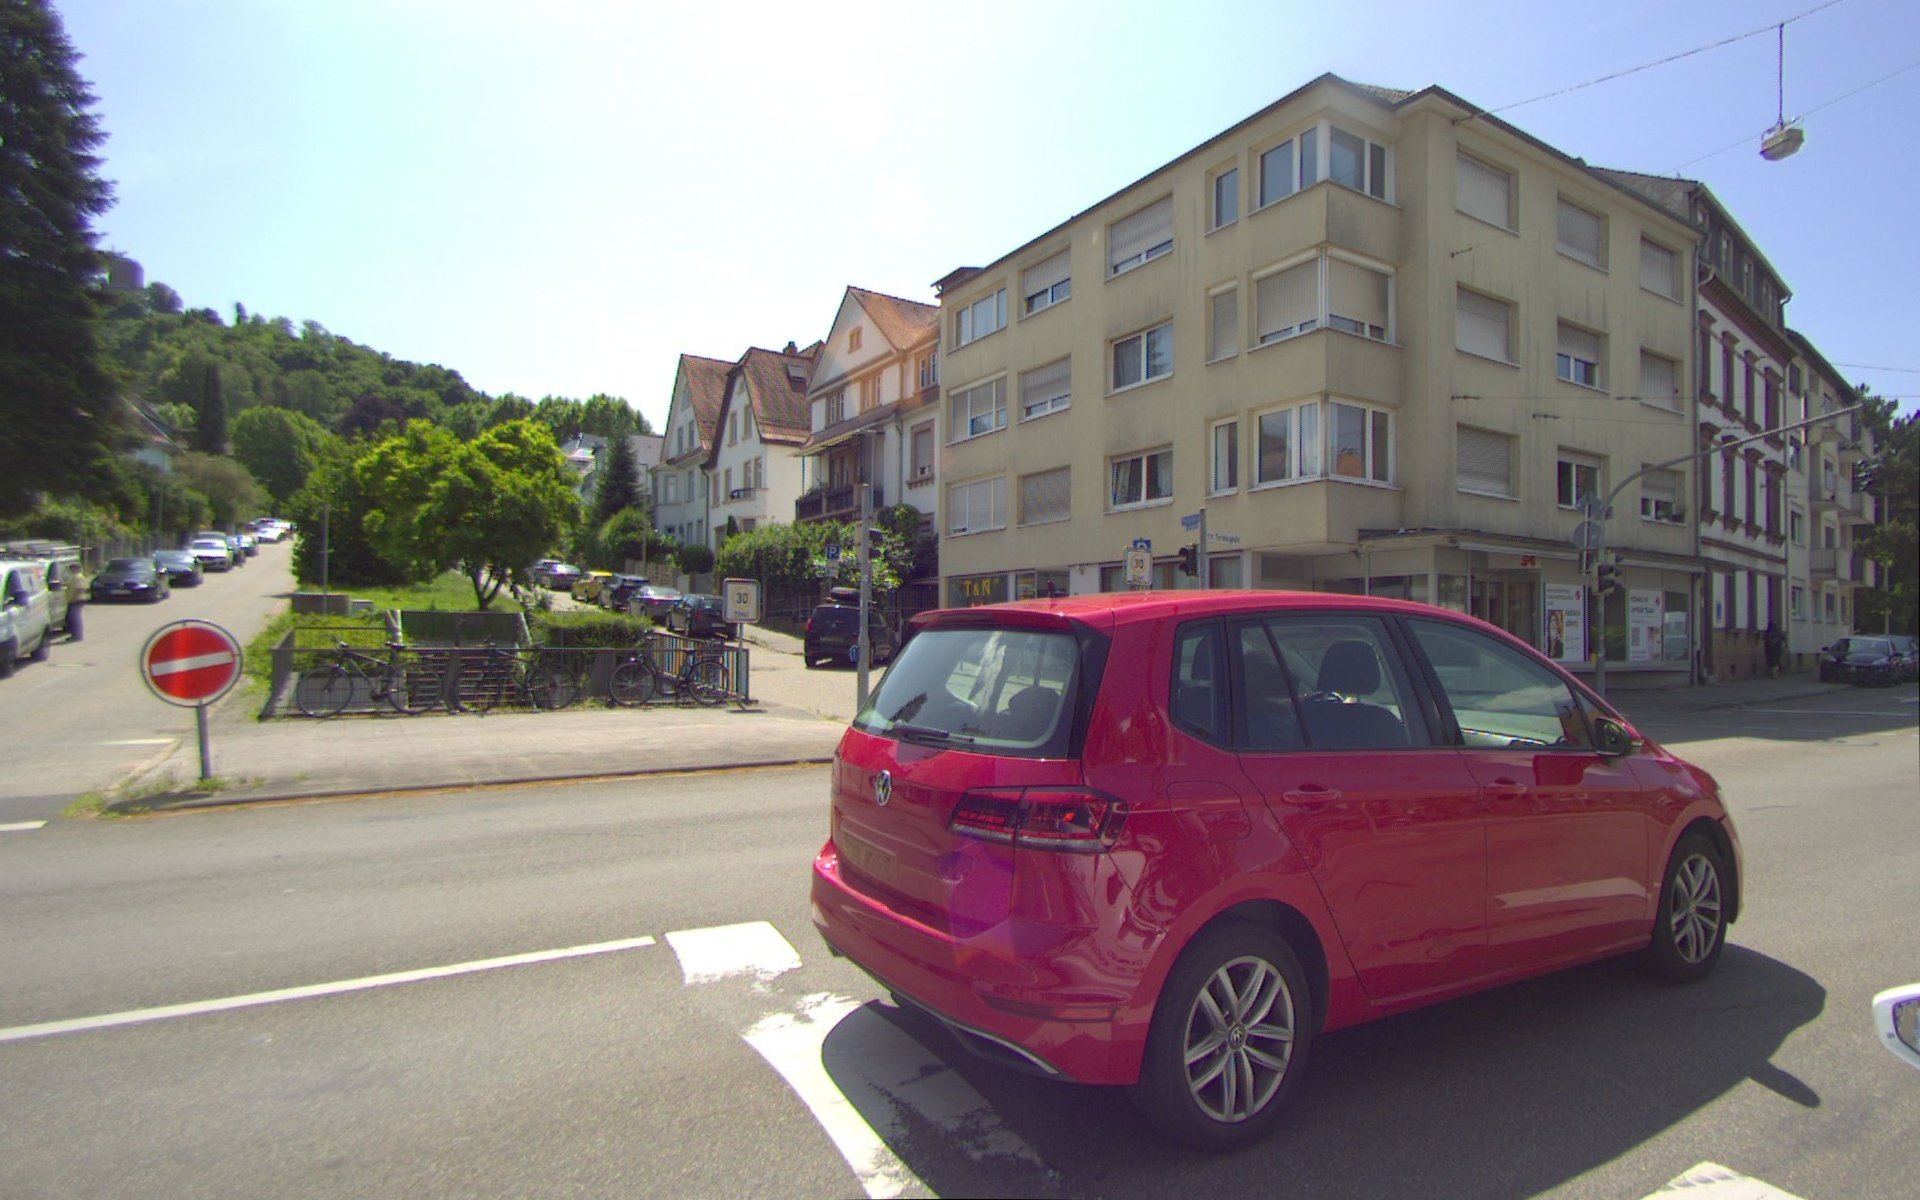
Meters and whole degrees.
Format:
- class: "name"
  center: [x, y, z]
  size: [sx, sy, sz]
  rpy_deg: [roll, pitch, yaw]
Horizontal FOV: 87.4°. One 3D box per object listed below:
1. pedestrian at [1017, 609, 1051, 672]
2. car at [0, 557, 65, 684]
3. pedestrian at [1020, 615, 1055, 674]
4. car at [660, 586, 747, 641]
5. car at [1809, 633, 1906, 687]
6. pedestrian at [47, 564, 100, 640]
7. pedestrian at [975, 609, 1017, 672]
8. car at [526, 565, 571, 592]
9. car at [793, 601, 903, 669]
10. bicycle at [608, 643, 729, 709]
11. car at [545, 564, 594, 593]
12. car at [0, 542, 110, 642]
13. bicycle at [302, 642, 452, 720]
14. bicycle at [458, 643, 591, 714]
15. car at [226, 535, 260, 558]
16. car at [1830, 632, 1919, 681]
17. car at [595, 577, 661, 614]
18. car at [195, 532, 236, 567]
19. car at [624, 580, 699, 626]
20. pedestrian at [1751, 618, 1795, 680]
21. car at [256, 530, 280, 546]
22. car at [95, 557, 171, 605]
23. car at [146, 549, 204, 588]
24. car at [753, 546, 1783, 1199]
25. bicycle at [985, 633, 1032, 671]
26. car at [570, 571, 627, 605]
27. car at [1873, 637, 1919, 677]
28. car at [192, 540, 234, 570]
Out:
- class: "pedestrian"
  center: [1.981, 1.088, 27.037]
  size: [0.640, 1.654, 0.683]
  rpy_deg: [1, -1, -29]
- class: "car"
  center: [-18.112, 0.264, 18.348]
  size: [1.980, 2.041, 4.963]
  rpy_deg: [1, 2, -34]
- class: "pedestrian"
  center: [2.017, 1.152, 26.165]
  size: [0.640, 1.495, 0.683]
  rpy_deg: [1, -1, -29]
- class: "car"
  center: [-9.052, 0.449, 35.297]
  size: [1.790, 1.638, 3.963]
  rpy_deg: [2, 2, -32]
- class: "car"
  center: [28.472, 1.886, 31.817]
  size: [3.973, 1.539, 1.974]
  rpy_deg: [3, -2, -43]
- class: "pedestrian"
  center: [-20.724, 0.052, 23.503]
  size: [0.733, 1.737, 0.707]
  rpy_deg: [1, -1, -27]
- class: "pedestrian"
  center: [0.958, 1.076, 26.886]
  size: [0.813, 1.654, 0.798]
  rpy_deg: [1, -1, -29]
- class: "car"
  center: [-25.294, -1.326, 61.664]
  size: [1.839, 1.439, 3.963]
  rpy_deg: [2, 2, -33]
- class: "car"
  center: [-2.951, 0.949, 27.514]
  size: [1.959, 1.686, 4.333]
  rpy_deg: [0, -2, 8]
- class: "bicycle"
  center: [-4.541, 1.161, 15.714]
  size: [1.765, 0.980, 0.394]
  rpy_deg: [2, -1, -35]
- class: "car"
  center: [-22.073, -1.249, 56.704]
  size: [1.839, 1.439, 3.963]
  rpy_deg: [2, 2, -33]
- class: "car"
  center: [-22.766, -0.266, 24.550]
  size: [2.050, 2.206, 4.973]
  rpy_deg: [1, 2, -29]
- class: "bicycle"
  center: [-7.810, 1.065, 13.492]
  size: [1.701, 0.980, 0.394]
  rpy_deg: [2, -1, -35]
- class: "bicycle"
  center: [-6.297, 1.115, 14.572]
  size: [1.728, 0.980, 0.394]
  rpy_deg: [2, -1, -35]
- class: "car"
  center: [-51.271, -3.845, 71.863]
  size: [1.739, 1.467, 3.706]
  rpy_deg: [1, 2, -32]
- class: "car"
  center: [31.921, 1.960, 35.033]
  size: [3.972, 1.539, 1.975]
  rpy_deg: [3, -2, -43]
- class: "car"
  center: [-14.518, -0.213, 43.790]
  size: [1.790, 1.406, 3.963]
  rpy_deg: [2, 2, -32]
- class: "car"
  center: [-42.464, -2.910, 57.333]
  size: [1.741, 1.839, 3.701]
  rpy_deg: [1, 3, -36]
- class: "car"
  center: [-11.807, 0.104, 39.573]
  size: [1.790, 1.571, 3.963]
  rpy_deg: [2, 2, -32]
- class: "pedestrian"
  center: [25.876, 1.547, 31.969]
  size: [0.970, 1.957, 0.927]
  rpy_deg: [2, -2, -42]
- class: "car"
  center: [-70.023, -6.259, 101.696]
  size: [1.739, 1.467, 3.706]
  rpy_deg: [1, 2, -32]
- class: "car"
  center: [-28.197, -0.673, 34.334]
  size: [1.741, 1.467, 3.701]
  rpy_deg: [1, 3, -36]
- class: "car"
  center: [-33.309, -1.368, 42.690]
  size: [1.741, 1.467, 3.701]
  rpy_deg: [1, 3, -36]
- class: "car"
  center: [1.371, 0.720, 4.110]
  size: [3.989, 1.578, 1.791]
  rpy_deg: [2, -1, -30]
- class: "bicycle"
  center: [1.401, 1.491, 29.293]
  size: [0.493, 1.040, 1.729]
  rpy_deg: [1, -1, -31]
- class: "car"
  center: [-17.609, -0.589, 48.818]
  size: [1.790, 1.439, 3.963]
  rpy_deg: [2, 2, -32]
- class: "car"
  center: [38.527, 2.283, 40.694]
  size: [3.972, 1.530, 1.975]
  rpy_deg: [2, -2, -43]
- class: "car"
  center: [-40.194, -2.415, 54.111]
  size: [1.741, 1.467, 3.701]
  rpy_deg: [1, 3, -36]
